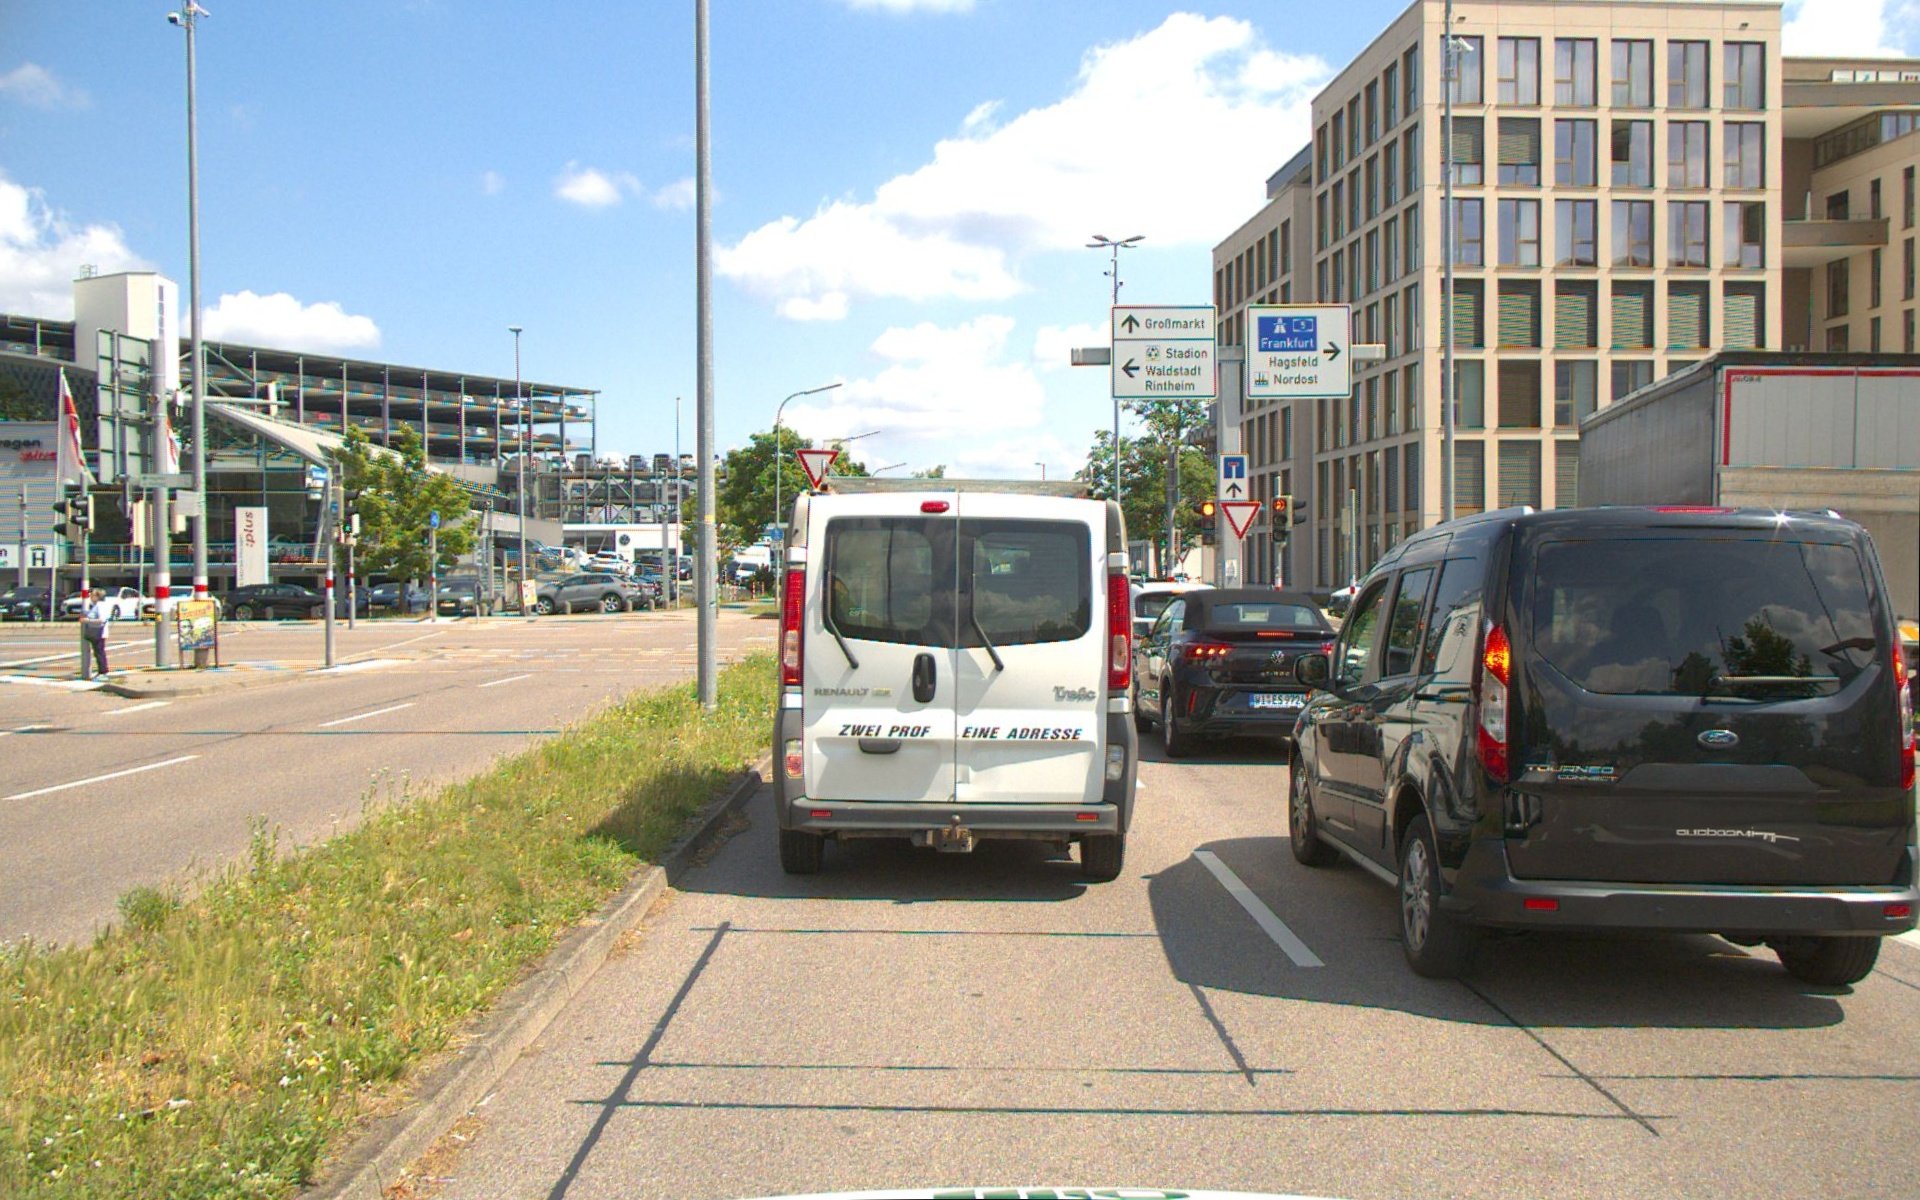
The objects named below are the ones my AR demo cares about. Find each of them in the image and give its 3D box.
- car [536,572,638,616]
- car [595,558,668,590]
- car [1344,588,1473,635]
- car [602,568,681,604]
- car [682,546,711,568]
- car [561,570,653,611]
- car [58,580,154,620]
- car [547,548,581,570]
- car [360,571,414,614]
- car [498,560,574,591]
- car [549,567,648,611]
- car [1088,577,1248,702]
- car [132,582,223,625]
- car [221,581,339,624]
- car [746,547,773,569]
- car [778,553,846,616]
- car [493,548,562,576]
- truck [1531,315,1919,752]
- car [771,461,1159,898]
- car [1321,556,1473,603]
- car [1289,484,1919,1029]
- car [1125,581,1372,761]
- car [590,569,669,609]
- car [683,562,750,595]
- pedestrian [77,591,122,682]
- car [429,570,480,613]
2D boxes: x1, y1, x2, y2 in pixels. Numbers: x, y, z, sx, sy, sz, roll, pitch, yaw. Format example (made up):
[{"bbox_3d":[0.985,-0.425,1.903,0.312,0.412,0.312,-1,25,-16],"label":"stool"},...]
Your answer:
[{"bbox_3d":[-15.239,-0.248,67.794,3.786,1.668,1.856,-2,1,-5],"label":"car"},{"bbox_3d":[-19.515,-1.558,98.465,4.085,1.742,1.686,1,1,-7],"label":"car"},{"bbox_3d":[14.926,0.377,55.152,3.815,1.516,1.794,0,1,-2],"label":"car"},{"bbox_3d":[-16.658,-0.721,86.522,3.836,1.742,1.687,-2,1,-5],"label":"car"},{"bbox_3d":[-19.077,-3.076,119.806,1.810,1.556,3.996,0,1,-5],"label":"car"},{"bbox_3d":[-15.950,-0.440,74.833,3.836,1.742,1.687,-2,1,-5],"label":"car"},{"bbox_3d":[-31.678,-0.026,61.471,1.870,1.400,3.749,0,1,-5],"label":"car"},{"bbox_3d":[-28.861,-2.980,120.599,1.810,1.556,3.996,0,1,-5],"label":"car"},{"bbox_3d":[-21.604,-0.295,62.432,1.789,1.579,3.980,0,0,-18],"label":"car"},{"bbox_3d":[-24.800,-1.438,96.743,4.085,1.743,1.686,0,0,-7],"label":"car"},{"bbox_3d":[-15.319,-0.494,70.239,3.836,1.742,1.687,-2,1,-5],"label":"car"},{"bbox_3d":[2.802,0.493,23.014,1.704,1.570,4.000,1,0,0],"label":"car"},{"bbox_3d":[-29.178,0.102,61.787,1.741,1.475,4.026,0,1,-5],"label":"car"},{"bbox_3d":[-25.266,0.093,61.525,3.719,1.539,1.677,0,1,-6],"label":"car"},{"bbox_3d":[-14.605,-3.040,120.365,1.810,1.556,3.996,0,1,-5],"label":"car"},{"bbox_3d":[-5.632,-0.636,63.544,1.930,2.295,4.983,-1,1,2],"label":"car"},{"bbox_3d":[-27.848,-2.427,106.585,4.085,1.743,1.686,0,0,-7],"label":"car"},{"bbox_3d":[9.127,-0.646,19.642,3.063,4.009,8.866,1,0,10],"label":"truck"},{"bbox_3d":[0.064,0.364,9.861,1.817,2.053,4.001,1,0,1],"label":"car"},{"bbox_3d":[15.593,-0.746,59.115,4.884,1.635,1.999,0,1,-4],"label":"car"},{"bbox_3d":[2.762,0.514,7.668,1.782,1.840,4.001,1,1,2],"label":"car"},{"bbox_3d":[2.687,0.606,16.244,1.704,1.521,4.000,1,0,0],"label":"car"},{"bbox_3d":[-15.638,-0.538,78.266,3.439,1.742,1.602,-2,1,-5],"label":"car"},{"bbox_3d":[-14.565,-1.291,99.134,3.911,1.959,1.824,0,0,-7],"label":"car"},{"bbox_3d":[-14.762,0.618,28.376,0.459,1.538,0.511,1,0,24],"label":"pedestrian"},{"bbox_3d":[-19.145,-0.325,62.593,1.789,1.579,3.980,0,0,-18],"label":"car"}]
